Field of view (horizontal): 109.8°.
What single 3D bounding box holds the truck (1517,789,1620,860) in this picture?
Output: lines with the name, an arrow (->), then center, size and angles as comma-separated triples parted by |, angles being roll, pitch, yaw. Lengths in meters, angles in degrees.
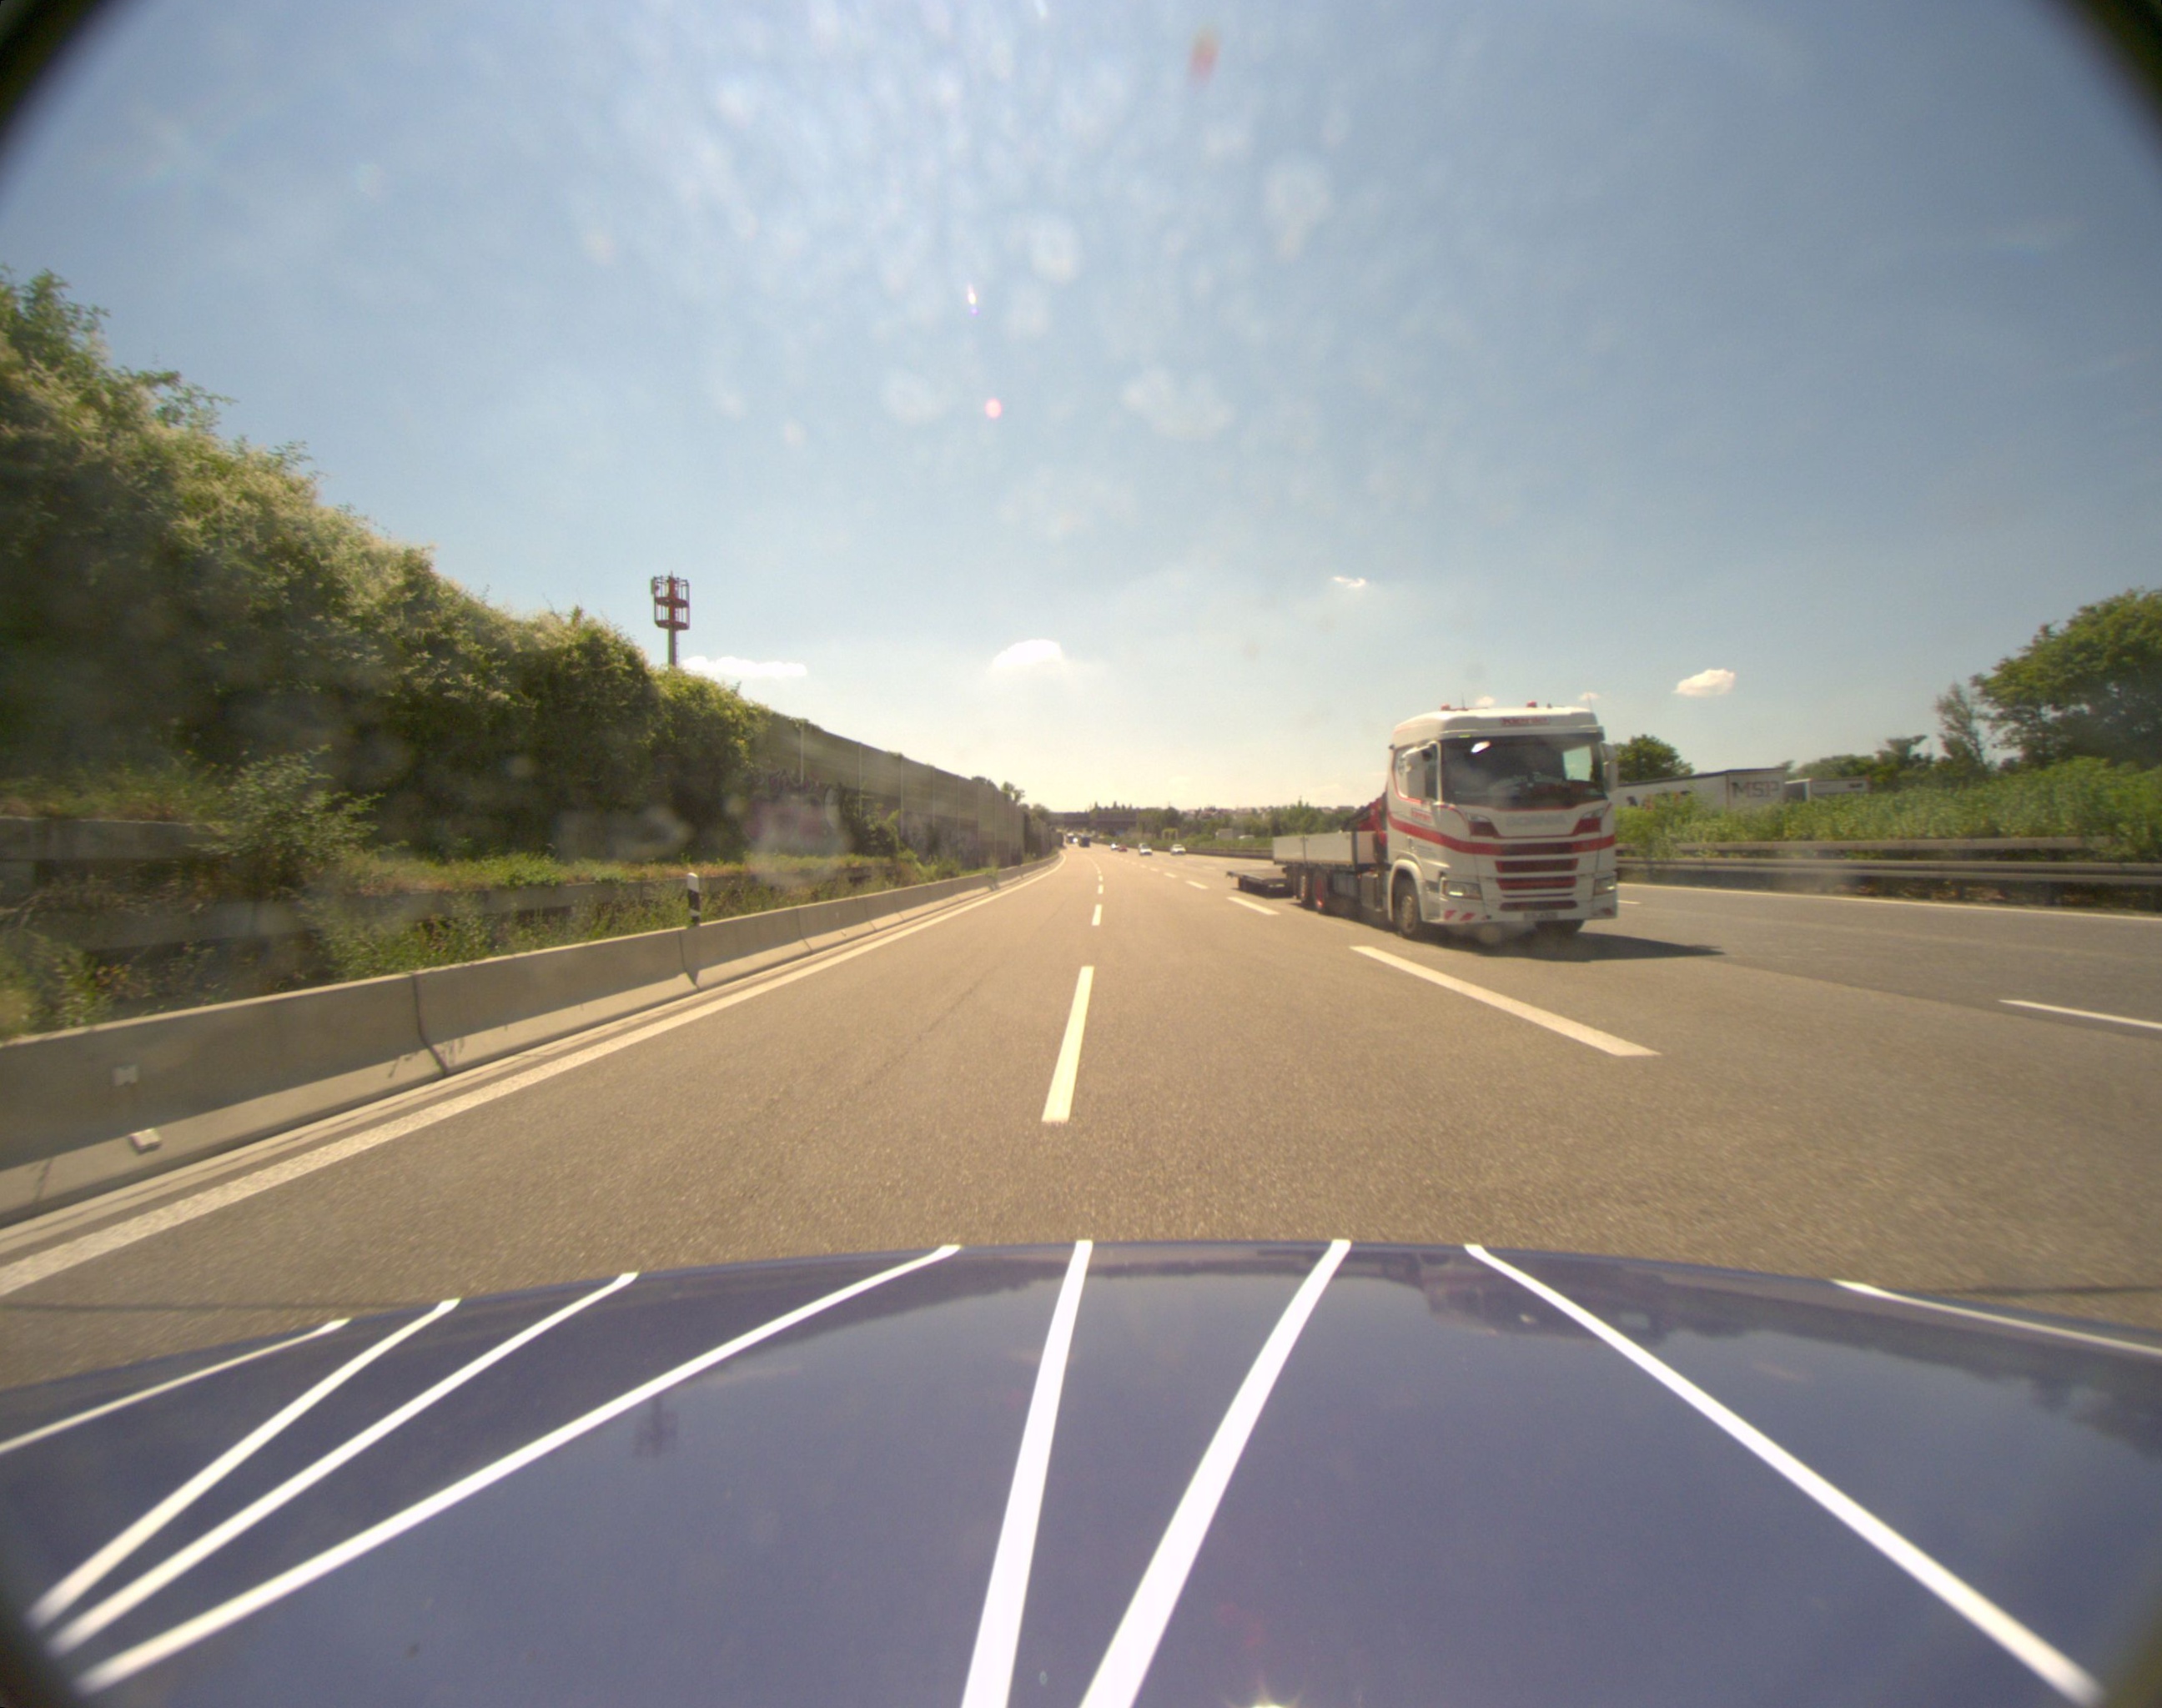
truck -> 30.352, -1.768, 47.575 | 3.340, 4.066, 4.828 | -2, 1, 2

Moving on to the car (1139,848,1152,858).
car -> 10.588, -0.112, 124.877 | 1.786, 1.494, 4.170 | -1, 1, 0

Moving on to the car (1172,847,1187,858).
car -> 14.952, -0.215, 115.363 | 1.883, 1.543, 4.000 | -2, 0, 2

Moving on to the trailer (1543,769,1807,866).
trailer -> 30.090, -1.630, 40.056 | 3.400, 4.066, 13.927 | -2, 0, 2

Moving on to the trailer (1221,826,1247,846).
trailer -> 32.533, -3.681, 162.093 | 2.544, 3.925, 13.717 | -2, 1, -1

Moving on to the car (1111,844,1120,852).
car -> 8.440, -1.414, 188.248 | 1.998, 1.832, 4.000 | -2, 1, 1

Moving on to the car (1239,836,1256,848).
car -> 29.200, -2.159, 133.214 | 1.998, 2.003, 3.998 | -2, 3, 1

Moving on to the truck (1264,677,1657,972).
truck -> 6.284, -0.404, 15.332 | 2.721, 3.780, 10.672 | -2, 0, 1

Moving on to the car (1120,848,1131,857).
car -> 9.756, -0.421, 166.340 | 1.998, 1.832, 4.000 | -2, 1, 1

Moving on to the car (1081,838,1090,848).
car -> 1.391, -3.489, 242.877 | 2.116, 3.284, 6.441 | -2, 1, -5

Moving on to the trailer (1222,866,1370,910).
trailer -> 6.560, 0.989, 24.510 | 2.721, 0.929, 7.760 | -2, 0, 1
